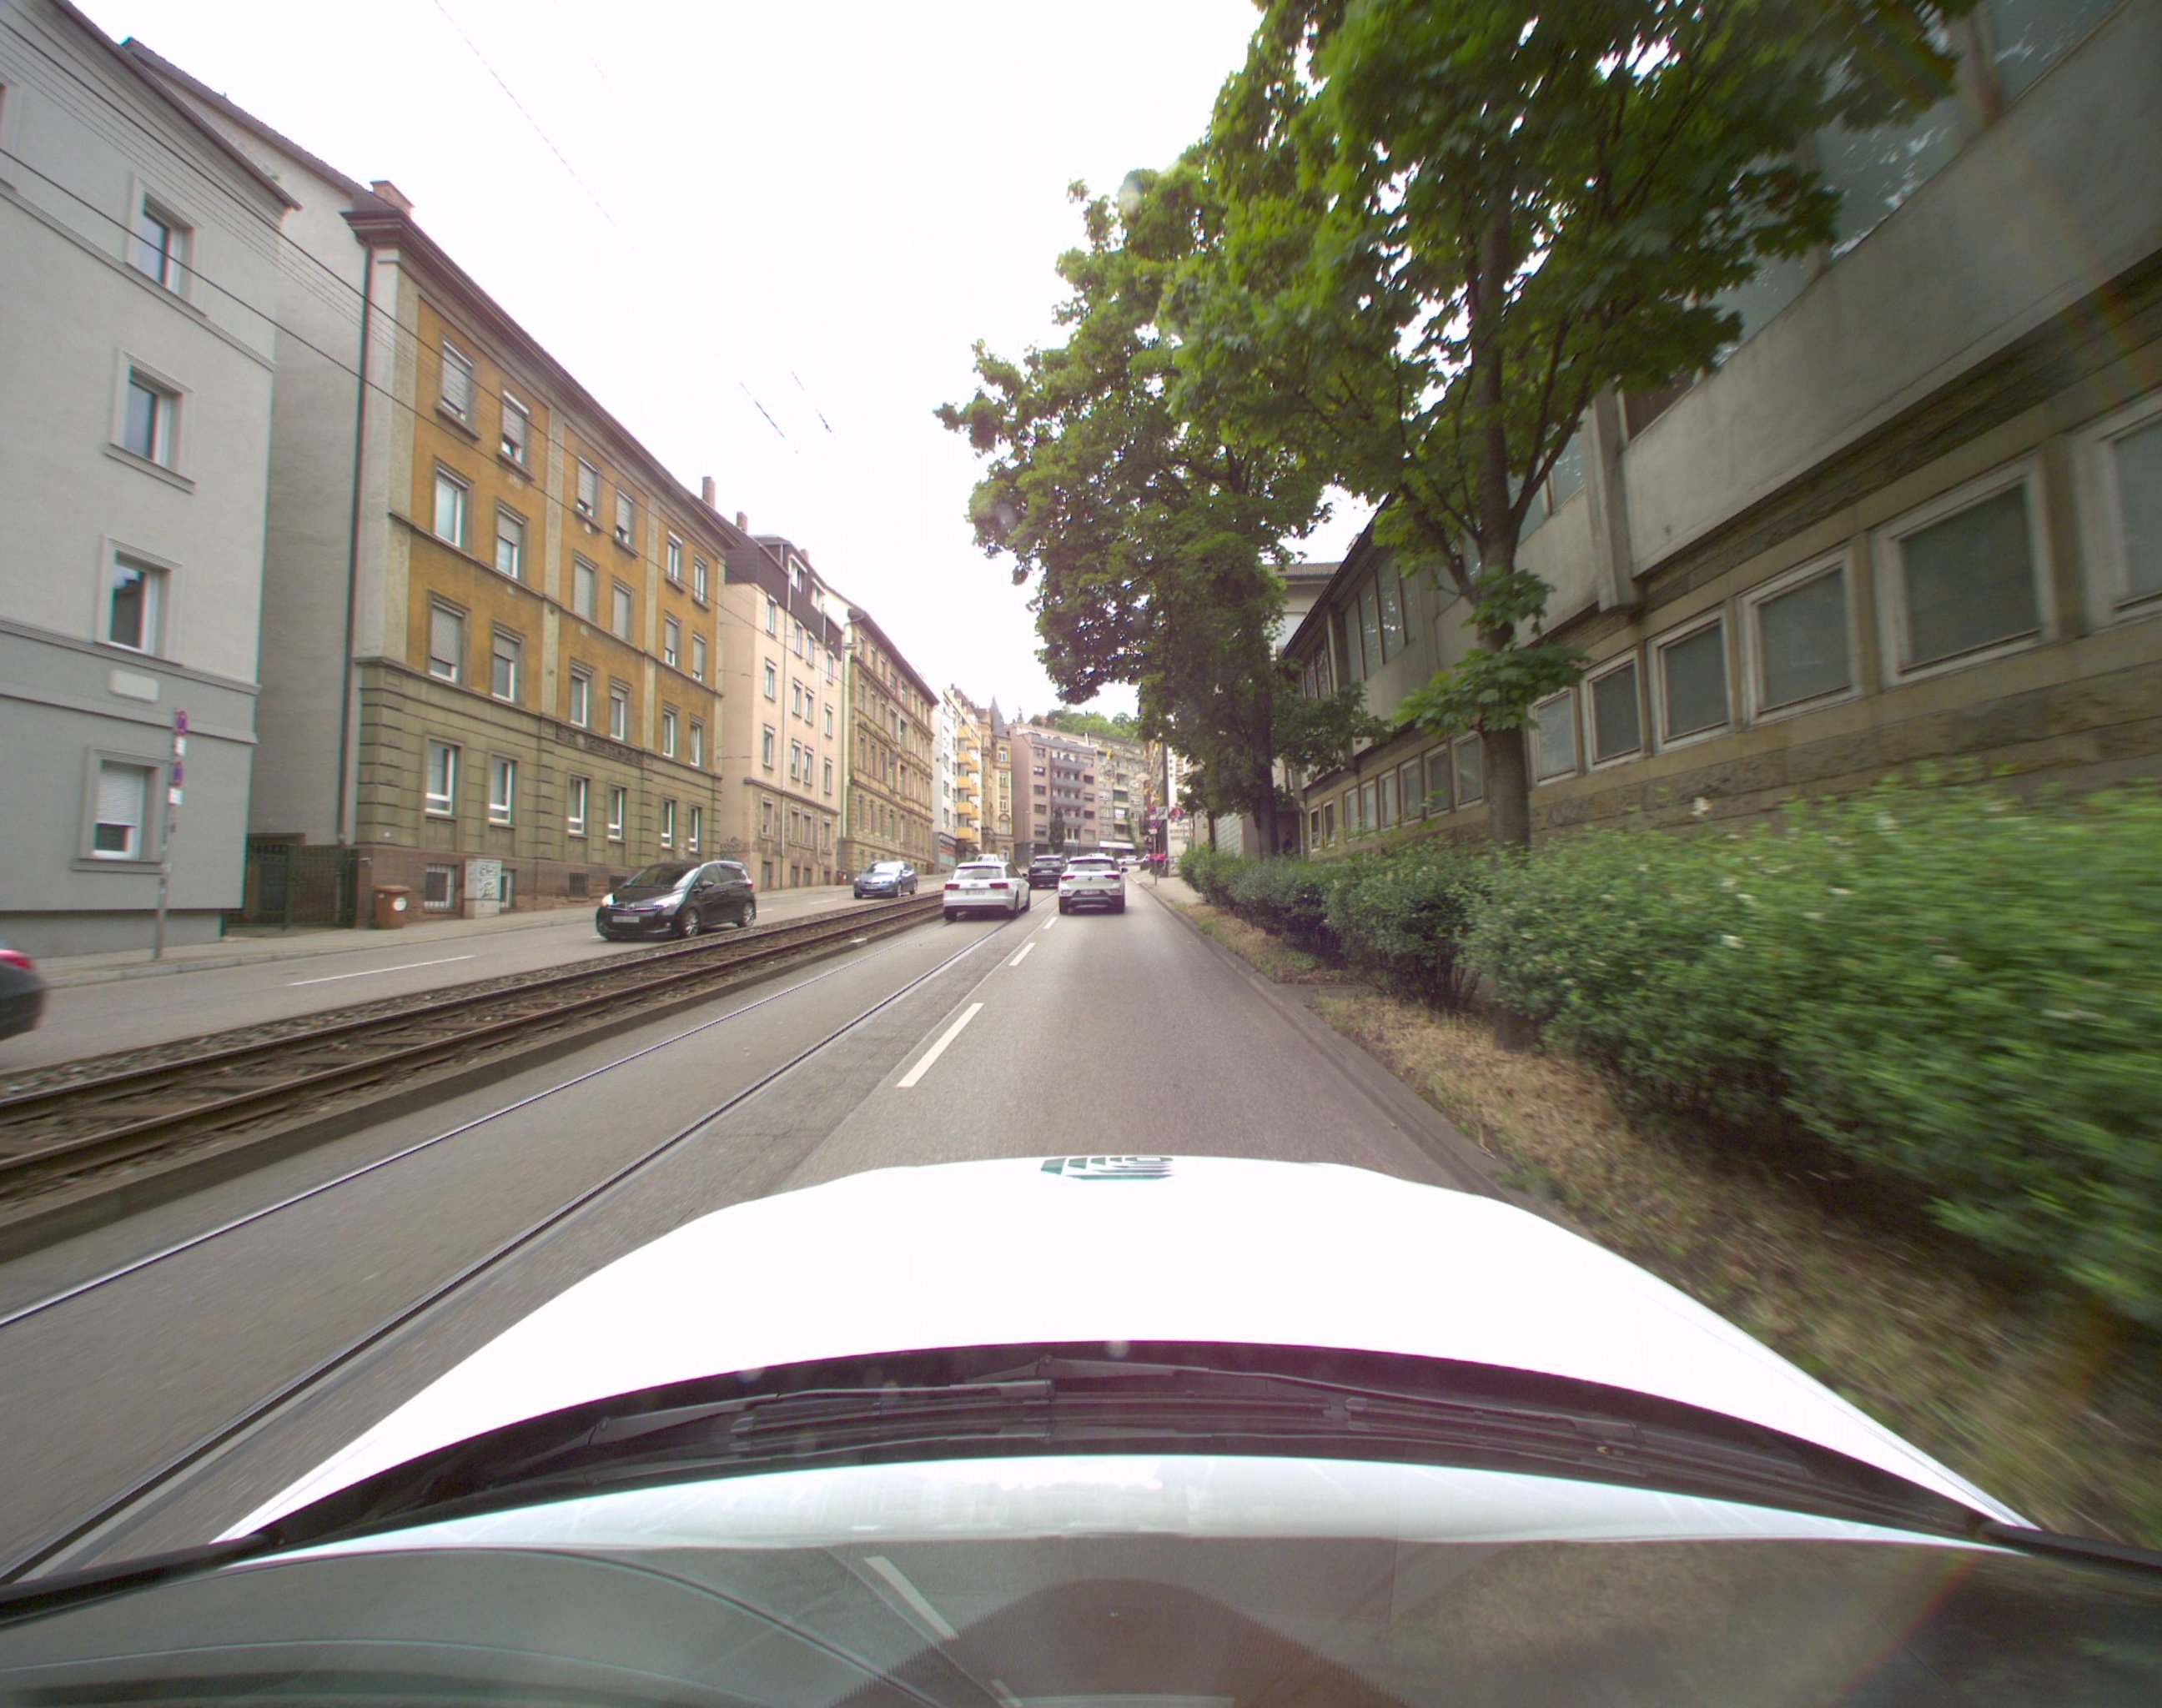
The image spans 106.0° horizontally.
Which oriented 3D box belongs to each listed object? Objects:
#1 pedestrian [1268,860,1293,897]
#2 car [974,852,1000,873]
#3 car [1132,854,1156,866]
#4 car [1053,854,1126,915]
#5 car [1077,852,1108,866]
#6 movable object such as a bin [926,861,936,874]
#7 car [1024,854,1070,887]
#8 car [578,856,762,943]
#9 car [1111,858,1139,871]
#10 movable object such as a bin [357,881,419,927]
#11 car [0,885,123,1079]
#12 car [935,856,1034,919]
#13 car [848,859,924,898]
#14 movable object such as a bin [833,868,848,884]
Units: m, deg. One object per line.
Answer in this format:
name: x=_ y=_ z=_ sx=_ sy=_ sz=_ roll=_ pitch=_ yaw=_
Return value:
pedestrian: x=5.345 y=0.648 z=21.819 sx=0.523 sy=0.965 sz=0.608 roll=-1 pitch=0 yaw=2
car: x=-8.915 y=0.818 z=77.811 sx=1.952 sy=1.900 sz=5.315 roll=-1 pitch=0 yaw=-2
car: x=9.841 y=0.969 z=126.727 sx=1.776 sy=1.728 sz=4.025 roll=-1 pitch=0 yaw=37
car: x=0.333 y=0.791 z=23.193 sx=1.871 sy=1.554 sz=4.003 roll=-1 pitch=0 yaw=3
car: x=1.743 y=0.764 z=122.207 sx=1.974 sy=2.035 sz=4.731 roll=-1 pitch=0 yaw=40
movable object such as a bin: x=-12.928 y=1.186 z=70.223 sx=0.767 sy=1.074 sz=0.561 roll=-1 pitch=0 yaw=2
car: x=-1.651 y=0.792 z=41.145 sx=2.031 sy=1.571 sz=4.358 roll=-1 pitch=0 yaw=1
car: x=-8.460 y=0.856 z=17.205 sx=1.737 sy=1.596 sz=3.971 roll=-1 pitch=0 yaw=2
car: x=6.899 y=1.624 z=127.450 sx=1.885 sy=1.922 sz=4.463 roll=-1 pitch=0 yaw=40
movable object such as a bin: x=-14.940 y=1.075 z=17.571 sx=0.776 sy=0.947 sz=0.653 roll=-1 pitch=0 yaw=2
car: x=-8.736 y=0.944 z=4.222 sx=1.805 sy=1.361 sz=4.767 roll=-1 pitch=0 yaw=2
car: x=-2.470 y=0.842 z=21.938 sx=1.871 sy=1.455 sz=4.620 roll=-2 pitch=-1 yaw=3
car: x=-7.899 y=0.961 z=33.498 sx=1.836 sy=1.455 sz=4.663 roll=-1 pitch=0 yaw=2
movable object such as a bin: x=-13.962 y=1.278 z=47.288 sx=0.626 sy=0.911 sz=0.677 roll=2 pitch=0 yaw=2
